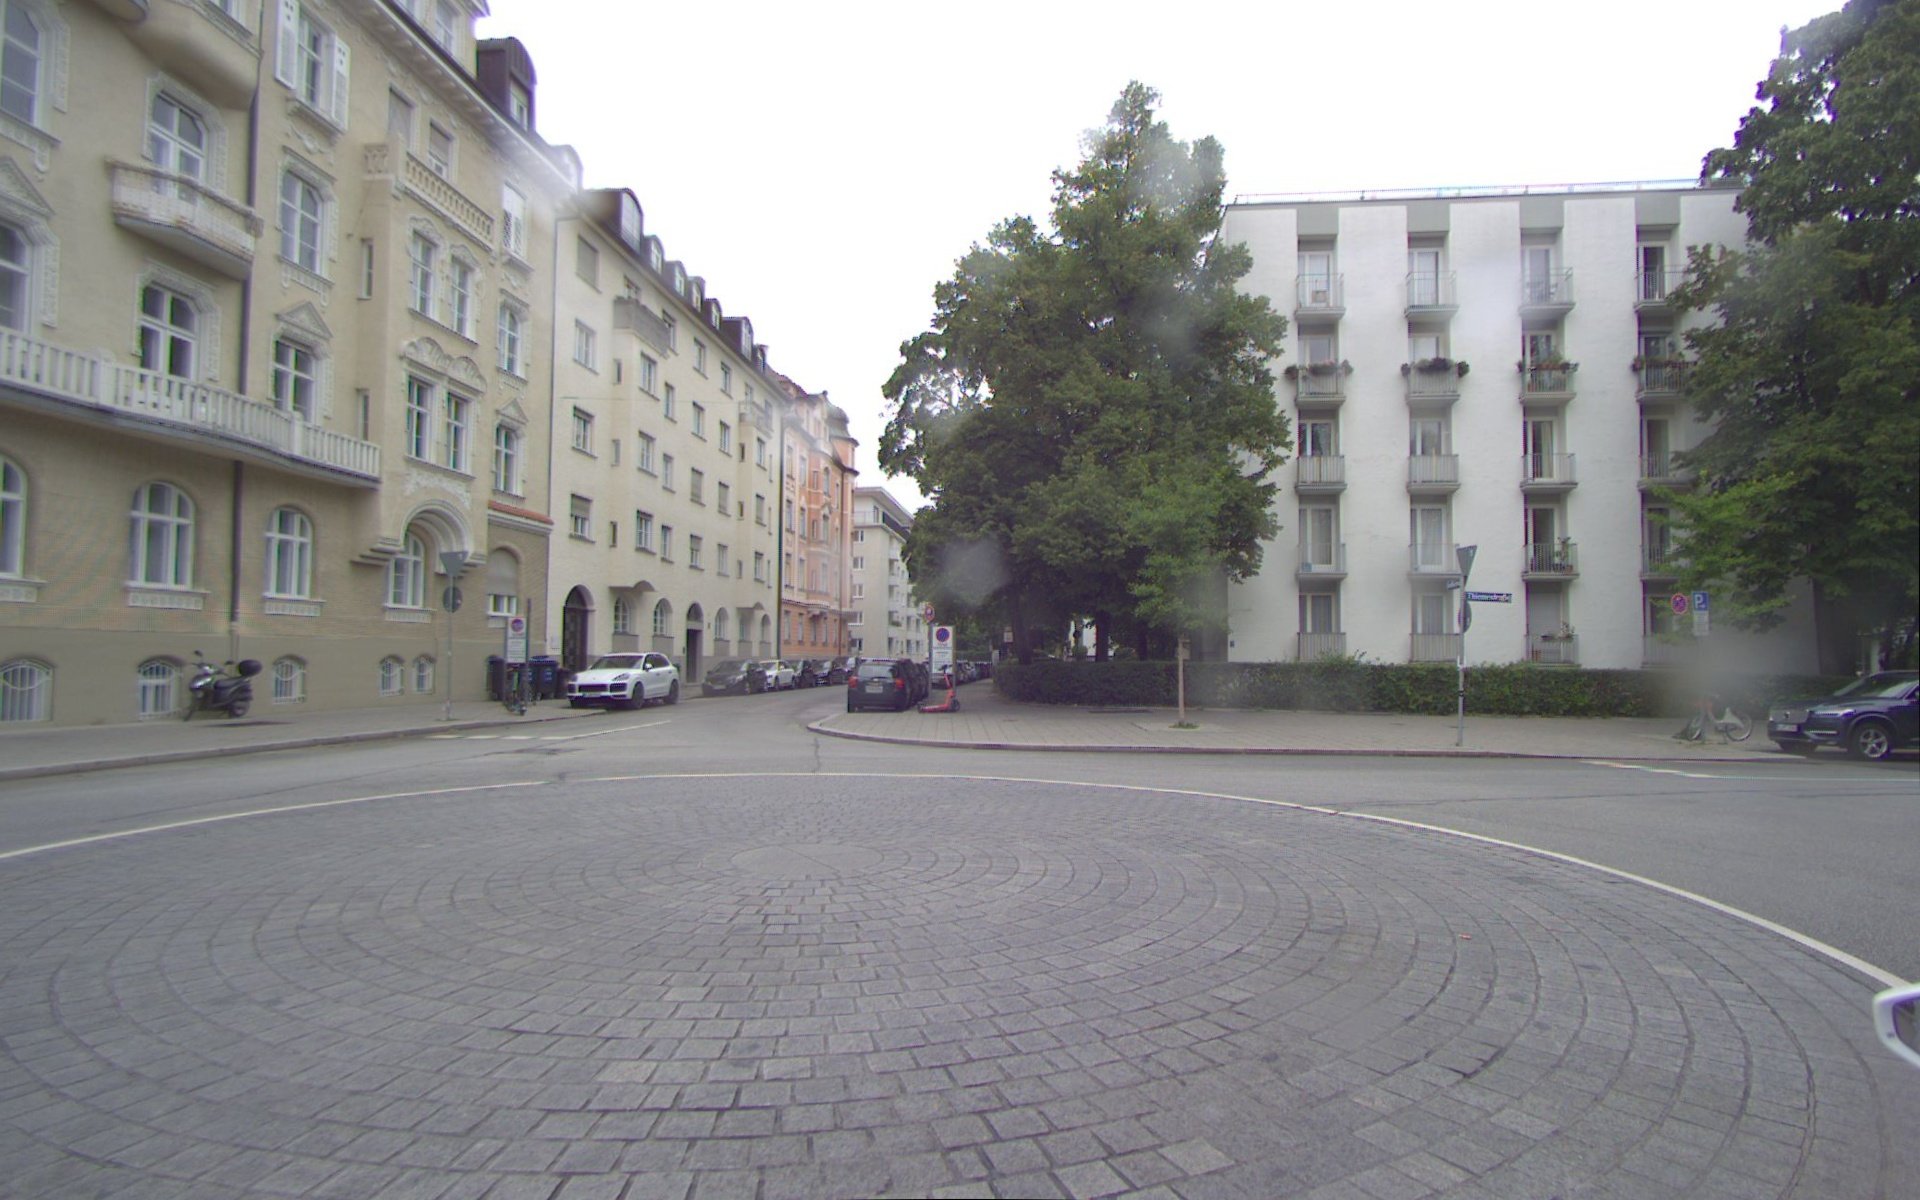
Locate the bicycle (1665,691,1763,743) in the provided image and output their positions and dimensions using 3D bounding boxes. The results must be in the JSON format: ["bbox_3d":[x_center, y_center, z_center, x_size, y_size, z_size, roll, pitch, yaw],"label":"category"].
[{"bbox_3d":[16.800,2.600,22.391,1.753,1.099,0.752,2,-3,-11],"label":"bicycle"}]

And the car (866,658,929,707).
[{"bbox_3d":[-2.096,2.812,34.744,1.642,1.548,3.680,-2,-4,4],"label":"car"}]

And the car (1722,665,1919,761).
[{"bbox_3d":[18.430,2.206,19.780,5.199,1.741,2.092,1,-3,1],"label":"car"}]

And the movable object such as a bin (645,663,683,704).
[{"bbox_3d":[-10.417,2.929,35.368,0.932,1.418,0.919,0,-3,8],"label":"movable object such as a bin"}]

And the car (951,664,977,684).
[{"bbox_3d":[0.297,5.569,75.754,1.642,1.475,3.680,-2,-4,4],"label":"car"}]

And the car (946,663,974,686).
[{"bbox_3d":[0.019,5.224,70.718,1.642,1.475,3.680,-2,-4,4],"label":"car"}]

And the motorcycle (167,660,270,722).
[{"bbox_3d":[-15.249,1.848,20.725,0.727,1.202,1.747,1,-3,2],"label":"motorcycle"}]

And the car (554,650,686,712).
[{"bbox_3d":[-10.261,2.435,30.817,1.960,1.697,4.995,1,-3,5],"label":"car"}]

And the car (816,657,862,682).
[{"bbox_3d":[-7.230,4.161,60.362,1.960,1.393,4.184,1,-3,5],"label":"car"}]

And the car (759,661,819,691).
[{"bbox_3d":[-8.565,3.809,50.554,1.960,1.393,4.184,1,-3,5],"label":"car"}]

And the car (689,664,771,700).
[{"bbox_3d":[-9.373,3.329,41.327,1.960,1.376,4.482,1,-3,5],"label":"car"}]

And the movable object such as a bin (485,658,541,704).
[{"bbox_3d":[-14.032,2.528,31.556,1.124,1.389,1.182,0,-3,7],"label":"movable object such as a bin"}]

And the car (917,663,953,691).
[{"bbox_3d":[-1.366,4.311,56.345,1.642,1.475,3.680,-2,-4,4],"label":"car"}]

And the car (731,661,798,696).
[{"bbox_3d":[-8.913,3.580,46.191,1.960,1.468,4.184,1,-3,5],"label":"car"}]

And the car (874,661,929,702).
[{"bbox_3d":[-2.255,3.180,39.592,1.642,1.475,3.680,-2,-4,4],"label":"car"}]

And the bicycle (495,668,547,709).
[{"bbox_3d":[-12.425,2.490,28.506,0.641,1.082,1.976,1,-3,-3],"label":"bicycle"}]

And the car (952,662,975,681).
[{"bbox_3d":[0.341,6.057,85.400,1.642,1.475,3.680,-2,-4,4],"label":"car"}]

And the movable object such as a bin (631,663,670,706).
[{"bbox_3d":[-10.583,2.890,34.420,0.932,1.418,0.919,0,-3,8],"label":"movable object such as a bin"}]

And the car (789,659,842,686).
[{"bbox_3d":[-7.962,4.003,55.728,1.960,1.393,4.184,1,-3,5],"label":"car"}]

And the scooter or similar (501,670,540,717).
[{"bbox_3d":[-11.206,2.366,25.595,0.538,1.123,1.332,3,-4,-38],"label":"scooter or similar"}]

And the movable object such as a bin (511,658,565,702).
[{"bbox_3d":[-13.763,2.587,32.776,1.124,1.389,1.182,0,-3,7],"label":"movable object such as a bin"}]

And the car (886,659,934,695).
[{"bbox_3d":[-2.207,3.418,44.975,1.642,1.475,3.680,-2,-4,4],"label":"car"}]

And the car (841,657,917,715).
[{"bbox_3d":[-2.312,2.481,29.442,1.642,1.548,3.680,-2,-4,4],"label":"car"}]

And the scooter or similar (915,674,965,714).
[{"bbox_3d":[-0.543,2.521,26.878,1.287,1.037,0.528,1,-3,-7],"label":"scooter or similar"}]
